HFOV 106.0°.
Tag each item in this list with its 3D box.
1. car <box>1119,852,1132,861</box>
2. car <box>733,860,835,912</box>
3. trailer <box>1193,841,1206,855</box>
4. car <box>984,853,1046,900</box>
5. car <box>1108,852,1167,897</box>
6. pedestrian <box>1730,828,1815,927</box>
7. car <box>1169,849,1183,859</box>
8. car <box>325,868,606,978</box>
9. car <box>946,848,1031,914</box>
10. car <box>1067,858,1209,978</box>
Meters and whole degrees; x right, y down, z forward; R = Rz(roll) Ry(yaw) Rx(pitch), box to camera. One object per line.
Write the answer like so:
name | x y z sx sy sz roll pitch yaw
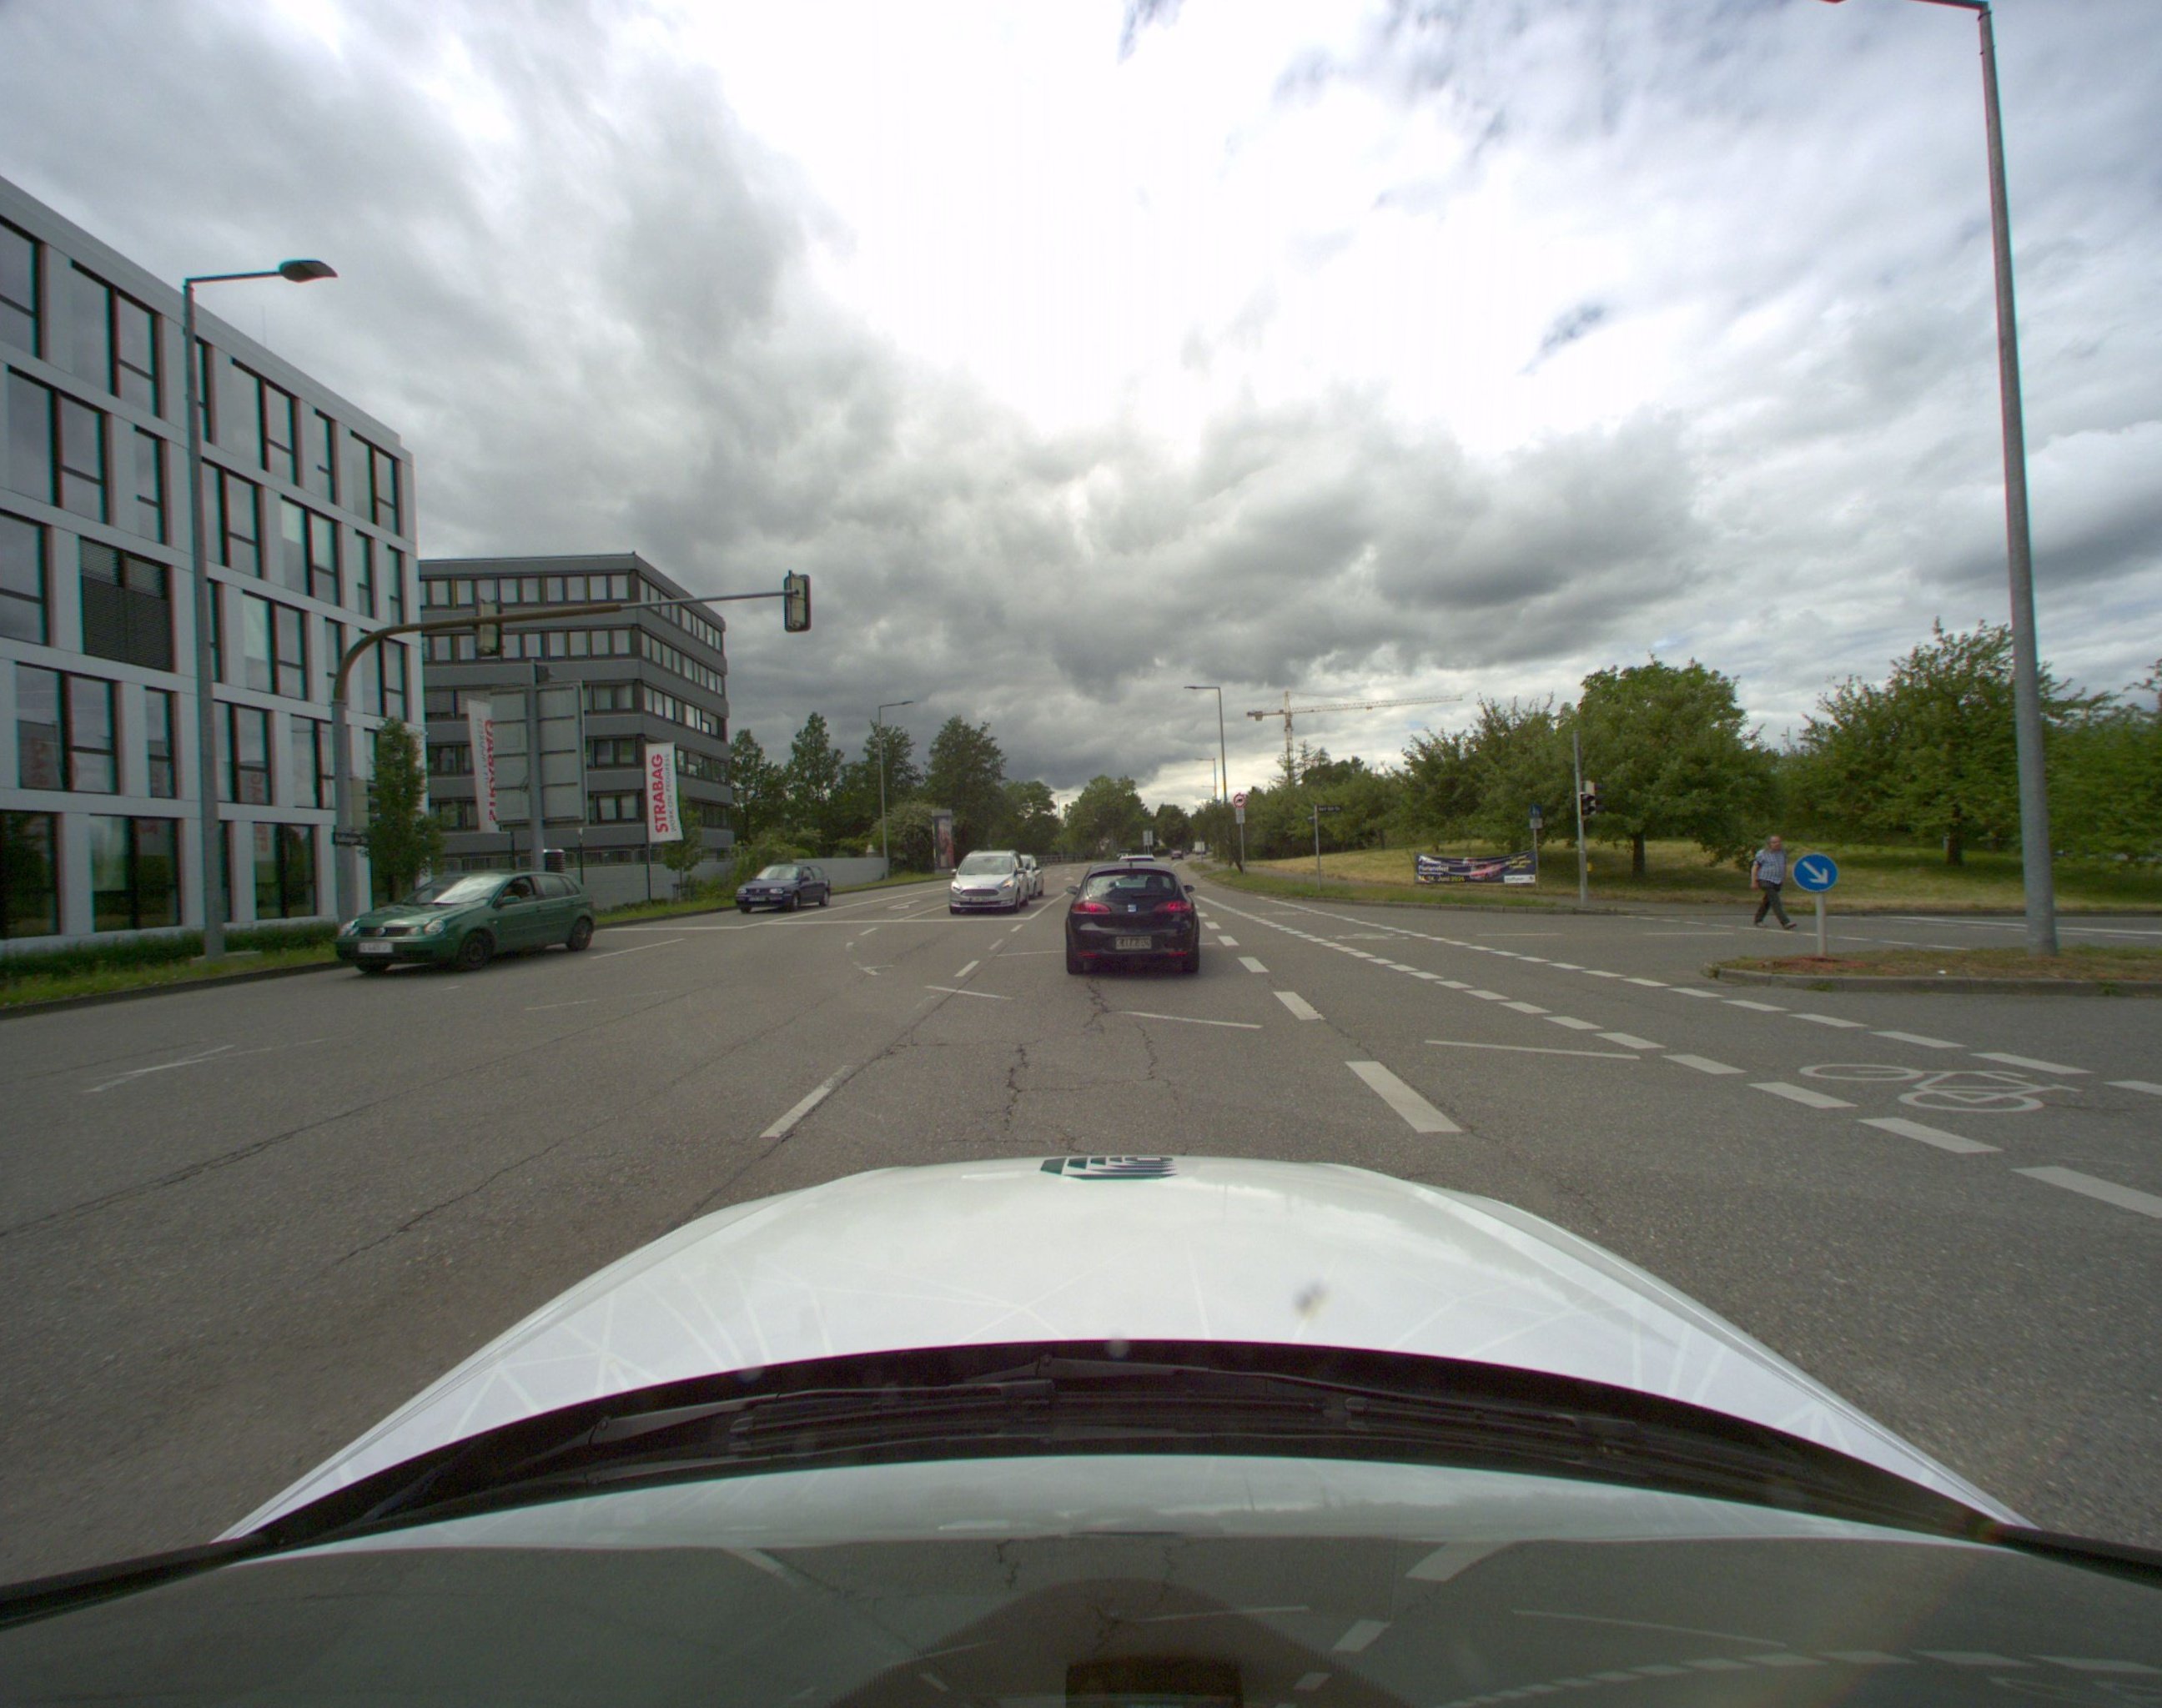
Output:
car | 7.675 0.400 140.079 1.703 1.581 3.754 -1 -1 11
car | -9.122 0.939 25.352 1.547 1.419 3.898 -1 0 3
trailer | 27.894 -1.389 191.276 2.474 3.073 5.607 -1 -1 14
car | -2.314 0.748 29.426 1.653 1.518 4.088 -1 0 3
car | 1.941 0.703 28.975 1.828 1.467 3.751 -1 -1 0
pedestrian | 13.039 0.439 15.383 0.715 1.793 1.044 -1 -1 3
car | 15.119 0.031 129.436 1.981 1.565 4.483 -2 0 9
car | -9.648 0.989 13.181 1.600 1.432 3.754 -1 0 1
car | -2.538 0.686 23.431 1.814 1.686 4.646 -1 0 1
car | 0.677 0.781 11.652 1.706 1.417 3.458 -1 0 -1
